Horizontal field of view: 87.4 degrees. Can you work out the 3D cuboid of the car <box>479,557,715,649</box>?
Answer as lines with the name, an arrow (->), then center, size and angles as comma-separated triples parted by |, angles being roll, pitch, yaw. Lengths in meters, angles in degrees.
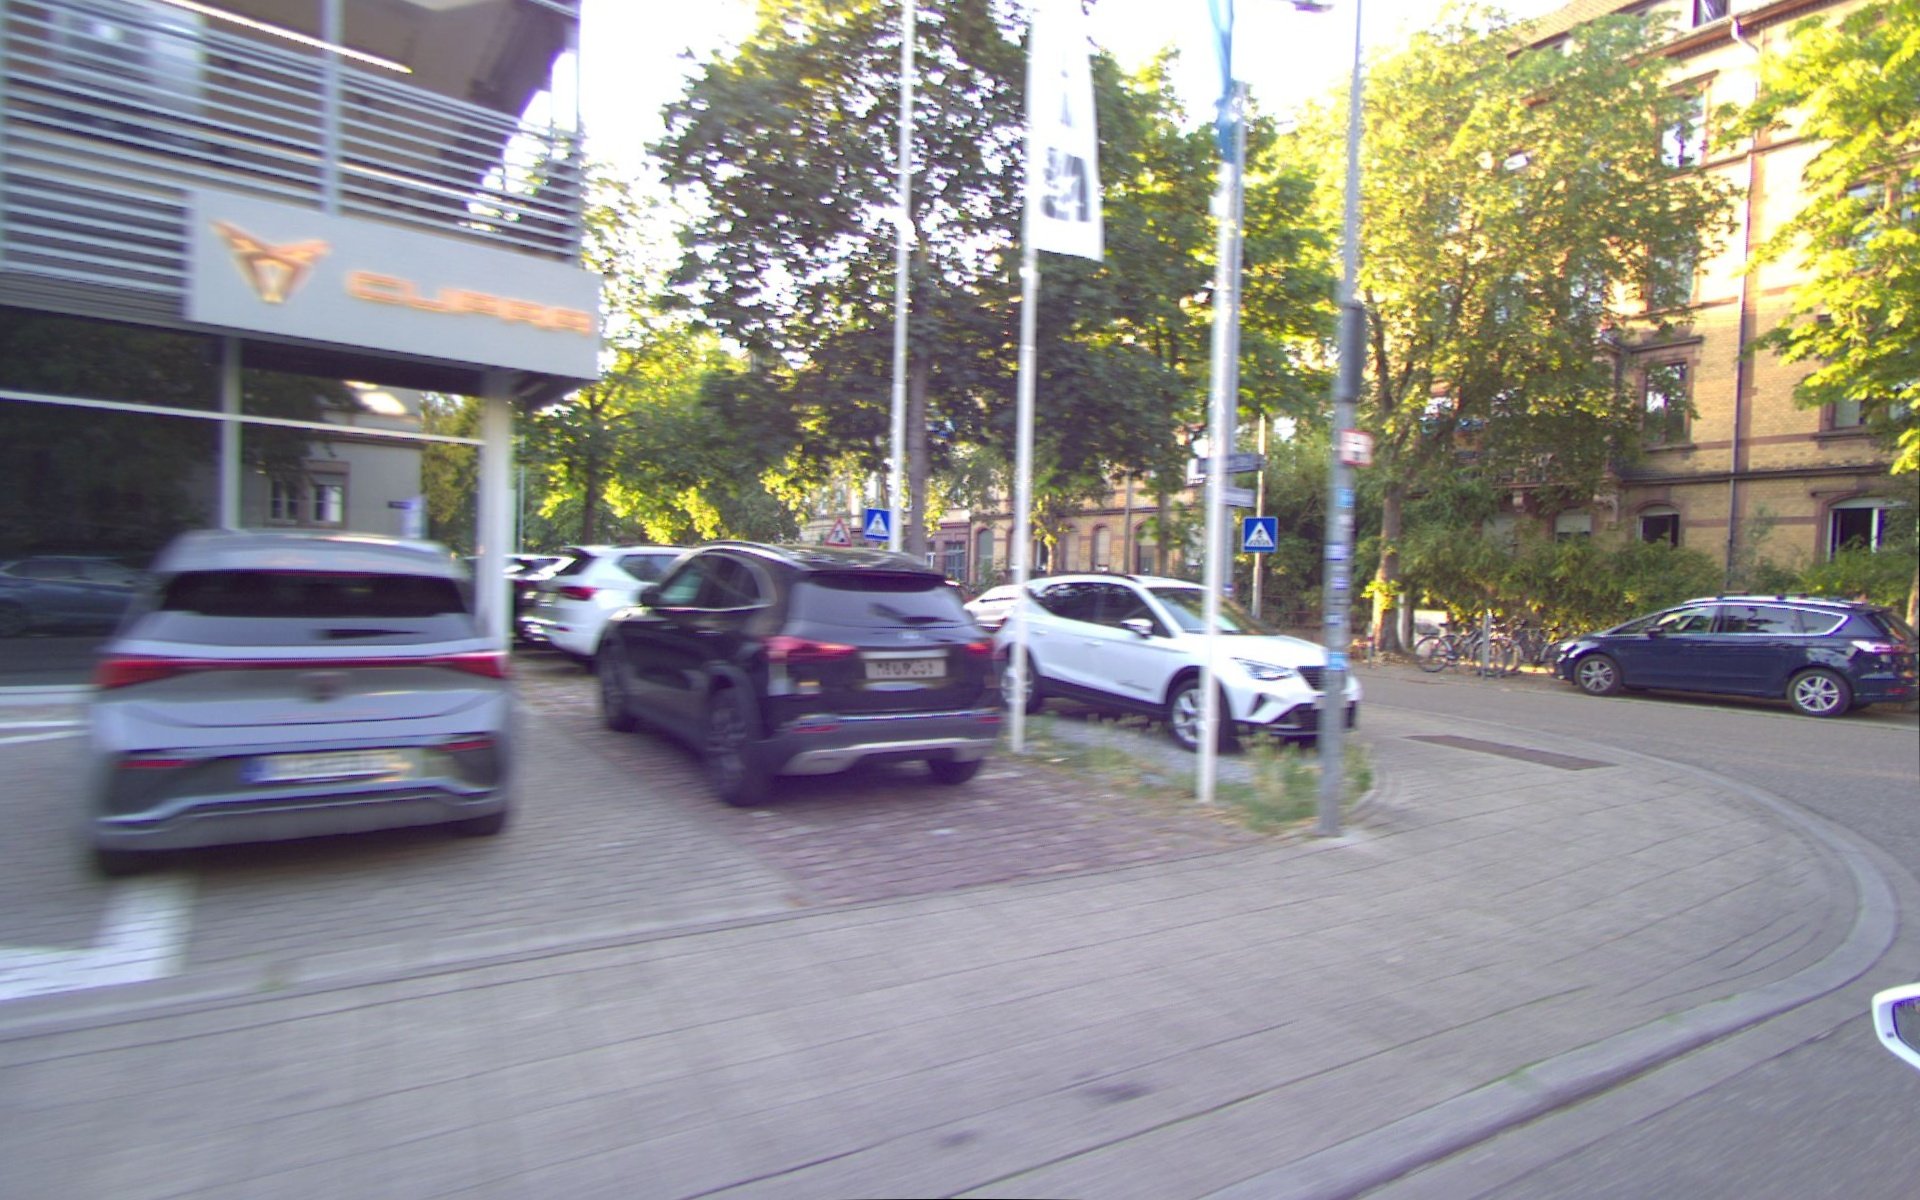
car -> -6.104, 0.043, 16.952 | 3.445, 1.397, 1.692 | 1, 2, -33

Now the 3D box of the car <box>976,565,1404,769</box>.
car -> 2.089, 0.471, 10.210 | 1.900, 1.495, 4.020 | 0, 4, -33

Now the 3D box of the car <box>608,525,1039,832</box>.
car -> -1.305, 0.359, 7.551 | 1.745, 1.640, 4.045 | 0, 2, -31

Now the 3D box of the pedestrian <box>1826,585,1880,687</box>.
pedestrian -> 14.796, 0.577, 16.641 | 0.443, 1.657, 0.539 | 0, 2, -34

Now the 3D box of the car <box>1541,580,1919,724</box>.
car -> 12.046, 0.636, 15.642 | 1.902, 1.756, 4.795 | -1, 3, -36

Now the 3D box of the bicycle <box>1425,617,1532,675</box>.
bicycle -> 10.288, 0.897, 19.976 | 1.831, 1.042, 0.444 | 2, 2, 37

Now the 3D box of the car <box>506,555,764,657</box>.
car -> -4.949, 0.079, 15.379 | 3.445, 1.397, 1.692 | 1, 2, -33

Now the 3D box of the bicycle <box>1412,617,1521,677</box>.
bicycle -> 9.870, 0.900, 19.626 | 1.831, 1.042, 0.444 | 2, 2, 37

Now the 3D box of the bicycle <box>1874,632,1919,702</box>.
bicycle -> 15.166, 1.053, 15.385 | 1.650, 1.042, 0.444 | 2, 2, 37

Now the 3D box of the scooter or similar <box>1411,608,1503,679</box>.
scooter or similar -> 9.428, 0.809, 19.075 | 1.493, 1.241, 0.444 | 2, 2, 37

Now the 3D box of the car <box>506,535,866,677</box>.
car -> -3.470, 0.074, 12.987 | 4.178, 1.571, 1.692 | 1, 2, -33

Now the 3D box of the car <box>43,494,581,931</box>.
car -> -3.660, 0.295, 5.998 | 1.892, 1.640, 4.106 | 0, 4, -31

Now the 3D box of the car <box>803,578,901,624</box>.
car -> -4.193, -0.023, 38.511 | 1.902, 1.546, 4.296 | -1, 3, -36

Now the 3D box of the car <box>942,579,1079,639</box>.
car -> 1.448, 0.209, 30.413 | 1.902, 1.546, 4.296 | -1, 3, -36

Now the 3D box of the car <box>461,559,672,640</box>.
car -> -7.415, -0.008, 18.993 | 3.445, 1.397, 1.692 | 1, 2, -33
